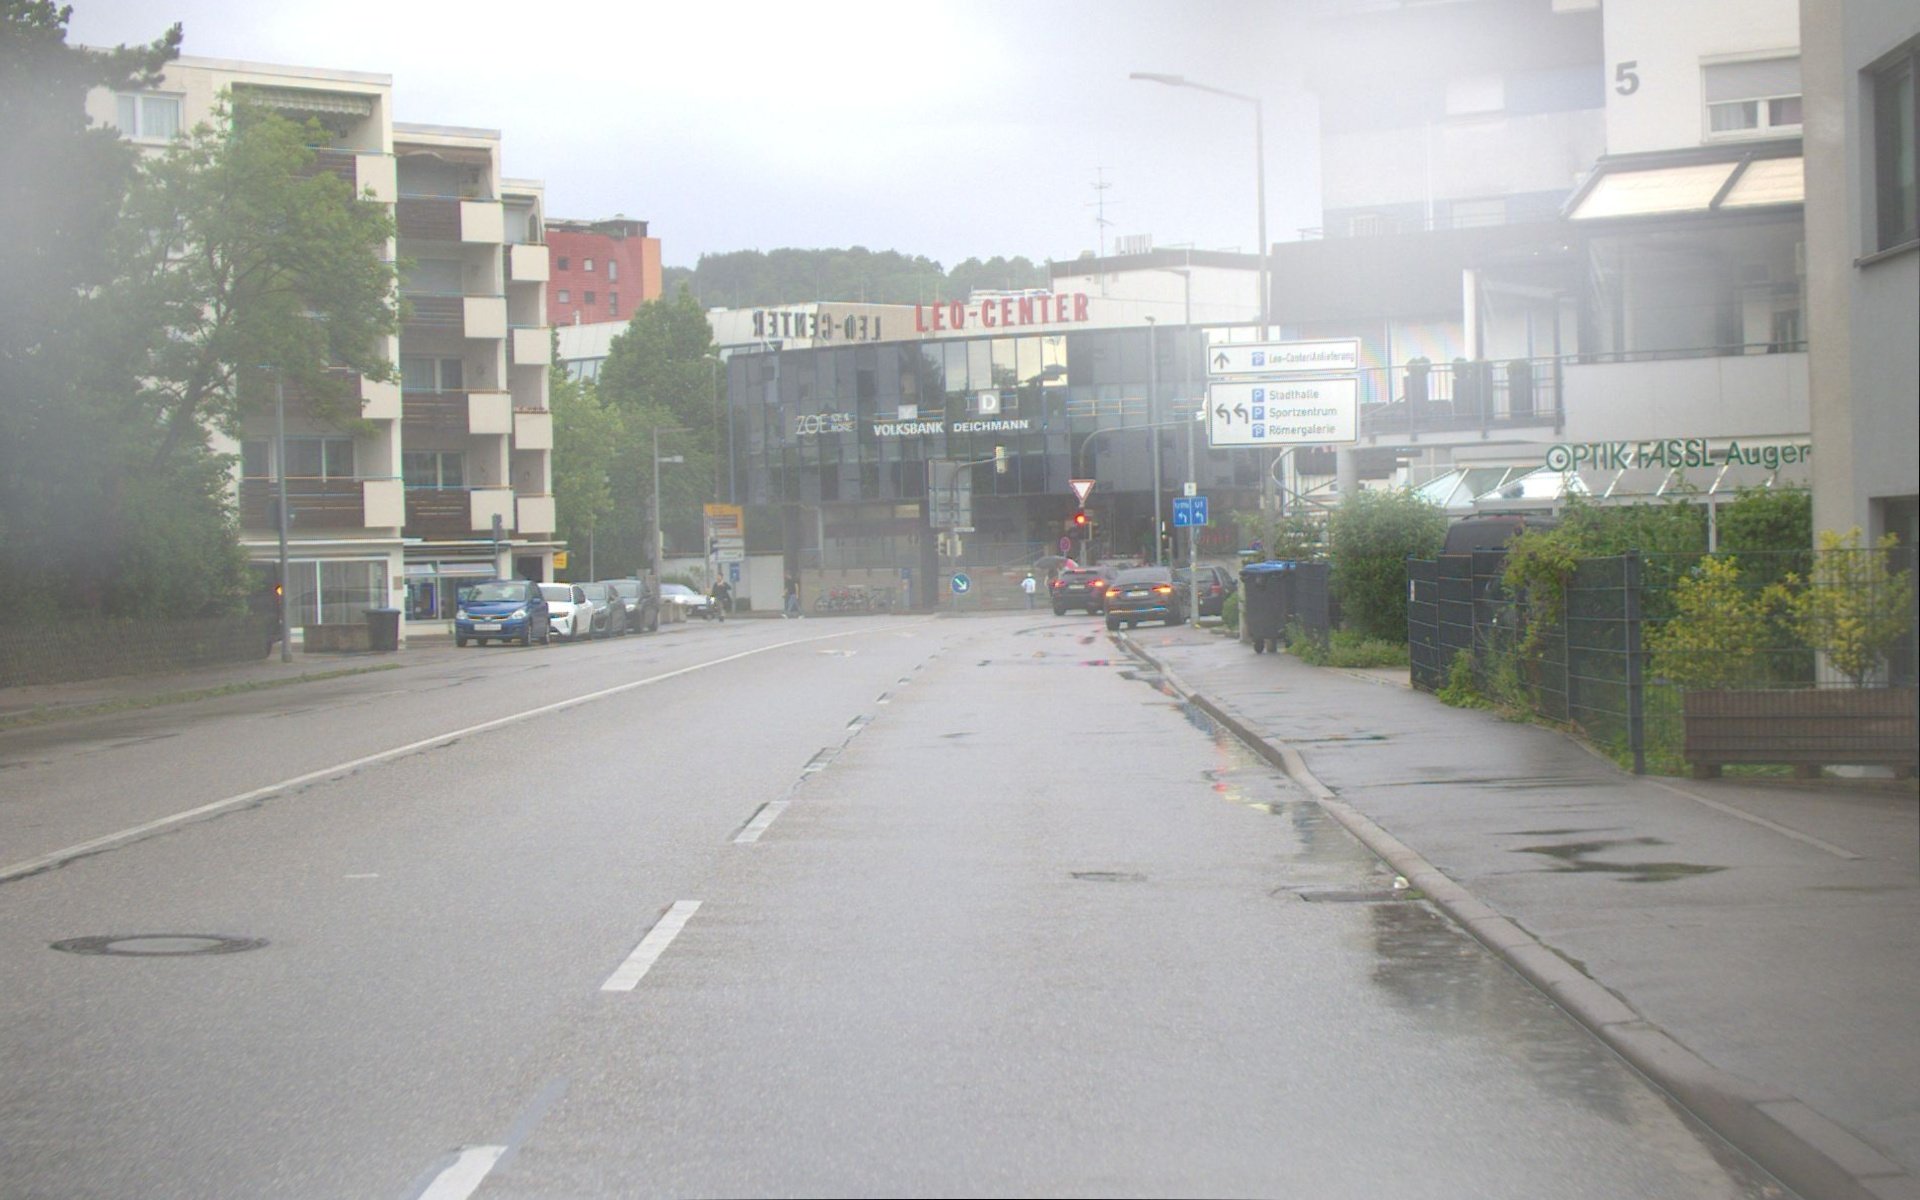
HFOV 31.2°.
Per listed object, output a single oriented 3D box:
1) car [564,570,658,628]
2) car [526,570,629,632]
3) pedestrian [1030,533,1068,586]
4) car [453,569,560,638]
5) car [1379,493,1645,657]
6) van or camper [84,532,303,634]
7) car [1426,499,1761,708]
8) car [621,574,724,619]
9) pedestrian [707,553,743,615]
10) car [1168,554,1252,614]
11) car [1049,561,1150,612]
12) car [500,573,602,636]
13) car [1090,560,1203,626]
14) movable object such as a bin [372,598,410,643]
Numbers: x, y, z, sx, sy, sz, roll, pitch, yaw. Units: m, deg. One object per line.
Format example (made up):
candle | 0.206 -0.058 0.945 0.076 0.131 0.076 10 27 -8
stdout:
car | -9.734 -0.056 96.256 1.935 1.536 4.272 -1 1 3
car | -10.024 0.016 90.450 1.935 1.536 4.520 -1 1 3
pedestrian | 2.847 -1.296 109.471 0.908 1.653 0.755 2 2 -24
car | -10.440 0.063 79.328 1.652 1.516 4.324 -1 1 3
car | 7.276 -0.367 44.937 1.996 2.007 4.772 -1 1 27
van or camper | -15.524 -0.363 69.486 1.995 1.918 5.215 -3 3 -41
car | 5.888 -0.005 32.544 1.993 1.779 4.691 -2 1 -4
car | -11.037 -0.145 131.686 1.994 1.506 4.433 1 2 -34
pedestrian | -7.706 -0.517 112.562 0.749 2.007 0.920 3 1 24
car | 6.875 -0.450 94.191 1.699 1.481 3.998 -4 0 12
car | 4.187 -0.415 102.734 1.806 1.414 3.996 -1 1 21
car | -10.090 0.093 85.156 1.693 1.459 4.683 -1 1 3
car | 4.541 -0.137 83.149 1.994 1.528 4.644 0 -1 13
movable object such as a bin | -12.478 0.445 75.409 0.648 0.962 0.682 -2 0 3
